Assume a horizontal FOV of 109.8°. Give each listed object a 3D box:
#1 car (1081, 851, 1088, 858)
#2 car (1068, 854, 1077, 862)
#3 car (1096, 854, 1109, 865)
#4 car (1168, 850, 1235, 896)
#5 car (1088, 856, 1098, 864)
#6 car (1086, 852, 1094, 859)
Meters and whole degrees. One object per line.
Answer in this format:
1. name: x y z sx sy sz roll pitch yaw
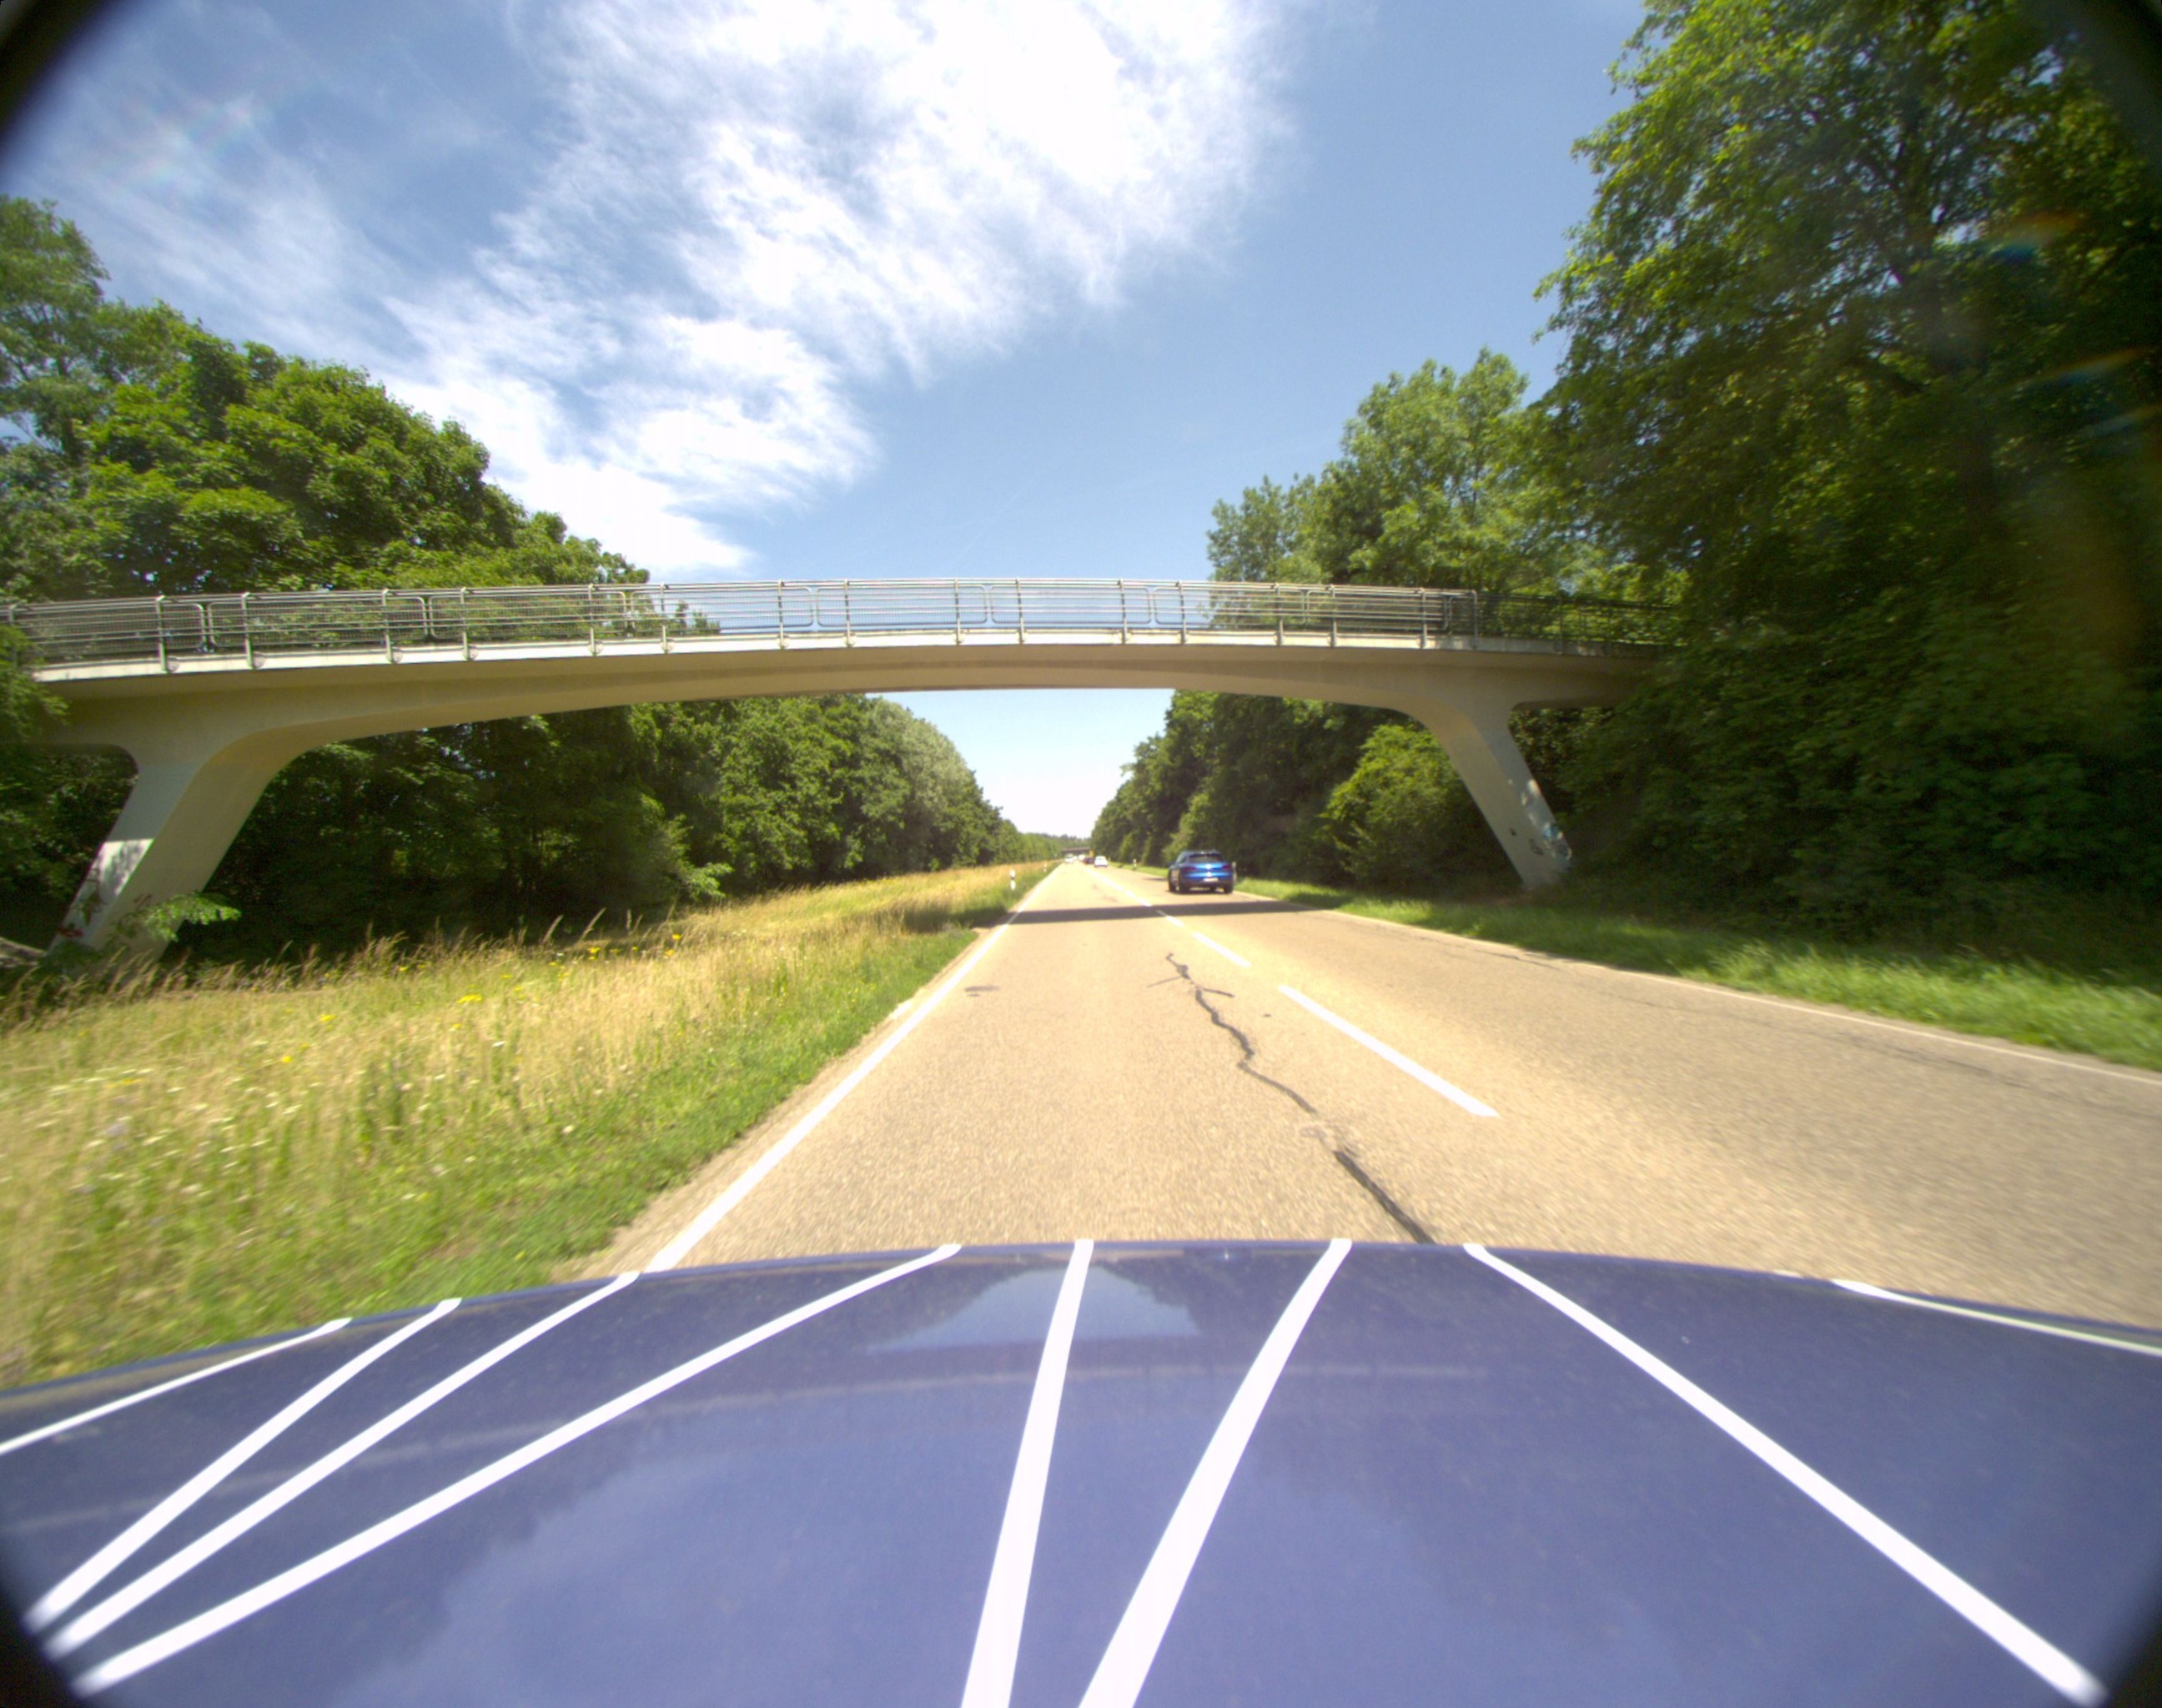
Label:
1. car: 1.112 0.088 229.714 1.880 1.917 4.986 -2 0 -1
2. car: -2.062 0.868 181.557 1.865 1.747 3.999 -3 0 -2
3. car: 3.021 0.809 105.792 1.682 1.425 3.771 -1 0 -1
4. car: 4.542 0.675 29.326 1.828 1.580 4.419 -1 0 0
5. car: 2.248 1.175 142.520 1.788 1.441 4.109 -2 0 1
6. car: 1.906 0.235 167.497 1.686 1.484 4.000 -2 0 1
